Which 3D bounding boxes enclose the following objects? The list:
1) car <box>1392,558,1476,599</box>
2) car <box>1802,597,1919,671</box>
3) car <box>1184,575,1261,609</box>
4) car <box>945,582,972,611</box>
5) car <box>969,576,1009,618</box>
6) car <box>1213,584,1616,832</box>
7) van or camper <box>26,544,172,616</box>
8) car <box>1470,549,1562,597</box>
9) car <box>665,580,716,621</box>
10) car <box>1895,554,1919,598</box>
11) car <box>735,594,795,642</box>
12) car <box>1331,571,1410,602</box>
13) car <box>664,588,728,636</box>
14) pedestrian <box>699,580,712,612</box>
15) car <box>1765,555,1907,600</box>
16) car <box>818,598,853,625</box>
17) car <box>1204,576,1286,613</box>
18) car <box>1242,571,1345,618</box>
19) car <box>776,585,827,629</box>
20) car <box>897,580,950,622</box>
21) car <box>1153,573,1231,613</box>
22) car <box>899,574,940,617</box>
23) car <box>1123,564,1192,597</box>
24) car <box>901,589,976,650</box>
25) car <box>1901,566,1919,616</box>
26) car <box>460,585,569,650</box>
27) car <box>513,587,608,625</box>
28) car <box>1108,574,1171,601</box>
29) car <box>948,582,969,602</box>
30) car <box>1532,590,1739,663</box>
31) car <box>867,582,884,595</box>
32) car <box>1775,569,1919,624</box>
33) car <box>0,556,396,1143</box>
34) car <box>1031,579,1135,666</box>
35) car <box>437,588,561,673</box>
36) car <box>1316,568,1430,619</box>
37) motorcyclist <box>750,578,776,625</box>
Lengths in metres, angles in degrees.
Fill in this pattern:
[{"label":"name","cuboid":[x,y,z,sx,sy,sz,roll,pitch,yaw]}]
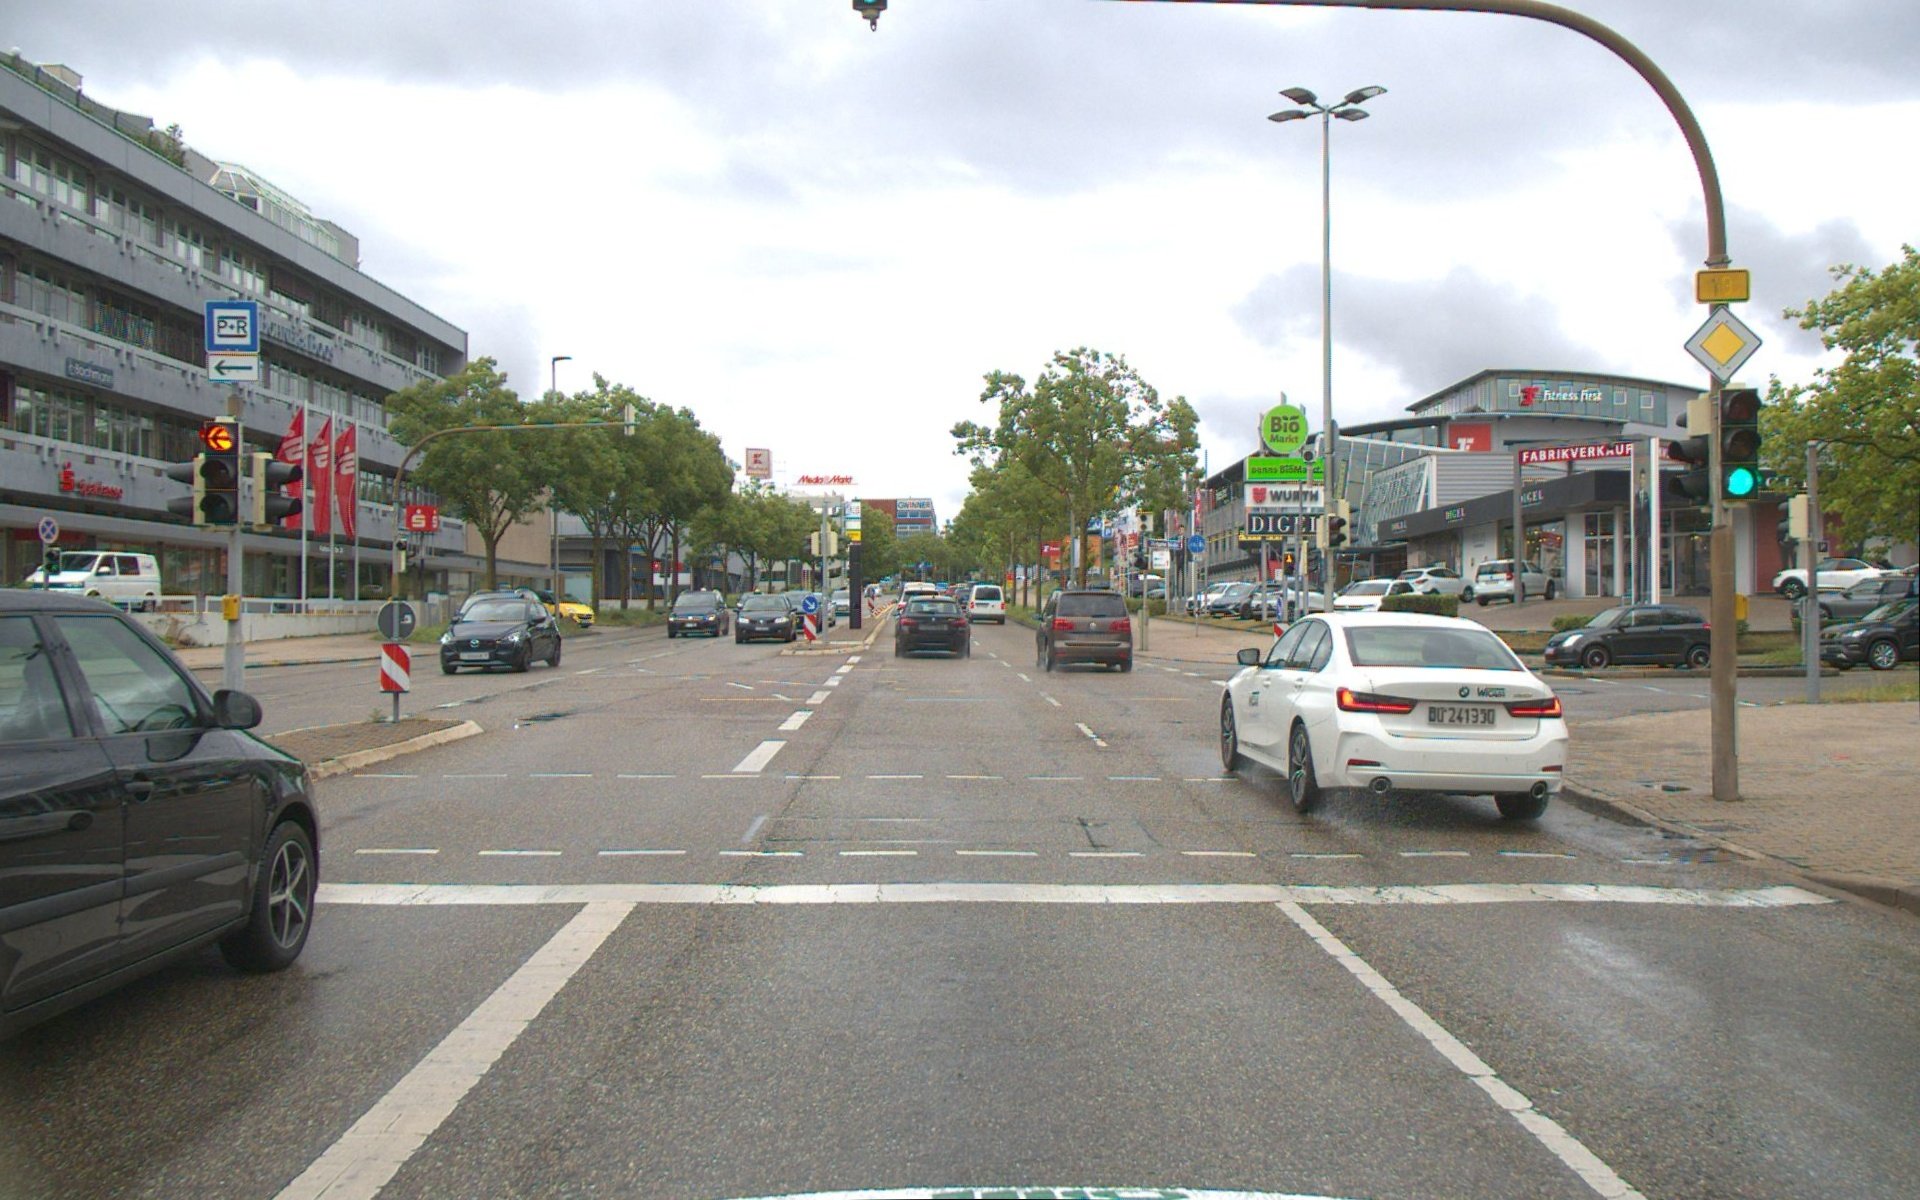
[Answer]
[{"label":"car","cuboid":[21.406,-0.981,74.626,4.116,1.802,1.712,-1,0,-41]},{"label":"car","cuboid":[21.334,0.782,37.046,4.053,1.575,1.739,1,-1,4]},{"label":"car","cuboid":[12.555,-0.376,79.039,3.566,1.563,1.770,-2,1,-41]},{"label":"car","cuboid":[-0.077,-0.215,106.125,1.650,1.713,3.402,1,-1,0]},{"label":"car","cuboid":[1.349,-0.131,78.446,1.746,1.899,3.999,-1,0,-1]},{"label":"car","cuboid":[3.324,0.709,13.110,1.765,1.571,4.618,2,0,-2]},{"label":"van or camper","cuboid":[-26.012,-0.563,50.176,1.953,2.001,4.787,1,-1,-1]},{"label":"car","cuboid":[21.861,-1.058,64.962,4.122,1.802,1.710,-1,0,-44]},{"label":"car","cuboid":[-14.021,0.031,86.355,1.953,2.049,3.999,1,-1,0]},{"label":"car","cuboid":[34.809,-0.857,57.114,1.719,1.506,4.099,-1,0,-37]},{"label":"car","cuboid":[-5.970,0.520,51.044,1.649,1.401,3.997,-1,0,-4]},{"label":"car","cuboid":[21.078,-0.712,84.877,4.115,1.494,1.806,-2,1,-39]},{"label":"car","cuboid":[-9.413,0.414,59.316,1.873,1.636,4.359,-1,0,-4]},{"label":"pedestrian","cuboid":[-17.824,-0.280,115.969,0.842,2.257,0.845,0,0,-4]},{"label":"car","cuboid":[30.710,-0.778,58.067,1.722,1.507,4.092,-1,0,-41]},{"label":"car","cuboid":[-7.134,0.630,94.992,1.688,1.422,4.788,-3,0,-1]},{"label":"car","cuboid":[12.315,-0.242,71.334,3.566,1.563,1.620,-1,0,-41]},{"label":"car","cuboid":[13.261,-0.233,65.602,3.991,1.692,1.953,-3,2,-41]},{"label":"car","cuboid":[-5.780,0.242,60.768,1.710,1.515,4.825,-1,0,-4]},{"label":"car","cuboid":[-1.292,0.017,57.849,1.649,1.401,3.997,-1,0,-4]},{"label":"car","cuboid":[12.561,-0.371,89.745,4.026,2.142,1.800,0,0,0]},{"label":"car","cuboid":[-1.996,-0.206,82.829,1.953,2.049,3.999,1,-1,-1]},{"label":"car","cuboid":[12.009,-1.213,100.828,4.026,1.938,1.800,-1,0,1]},{"label":"car","cuboid":[-0.555,0.459,40.760,1.745,1.422,3.999,1,0,-1]},{"label":"car","cuboid":[29.583,-0.257,47.442,1.964,1.404,4.093,3,-2,-40]},{"label":"car","cuboid":[-12.707,0.464,47.479,1.872,1.757,4.882,-1,0,-1]},{"label":"car","cuboid":[-17.379,0.266,71.917,3.917,1.579,1.894,-1,1,34]},{"label":"car","cuboid":[11.713,-0.816,108.118,4.024,1.733,1.801,0,0,5]},{"label":"car","cuboid":[-0.105,-0.677,135.627,1.660,1.468,3.990,0,3,0]},{"label":"car","cuboid":[15.233,0.598,37.433,3.898,1.515,1.817,-1,-1,-1]},{"label":"car","cuboid":[-9.604,-1.274,187.860,1.904,1.474,3.999,0,0,-2]},{"label":"car","cuboid":[26.241,-0.113,47.268,4.926,1.512,1.986,0,1,45]},{"label":"car","cuboid":[-3.346,0.653,5.369,1.678,1.515,4.076,-1,0,-1]},{"label":"car","cuboid":[2.467,0.418,34.048,1.764,1.615,4.450,2,0,0]},{"label":"car","cuboid":[-9.354,0.581,33.843,1.677,1.608,3.997,-1,0,-4]},{"label":"car","cuboid":[13.408,-0.219,53.507,1.897,1.604,4.265,-1,0,40]},{"label":"motorcyclist","cuboid":[-6.614,0.042,55.641,0.790,1.586,1.267,0,0,-3]}]
